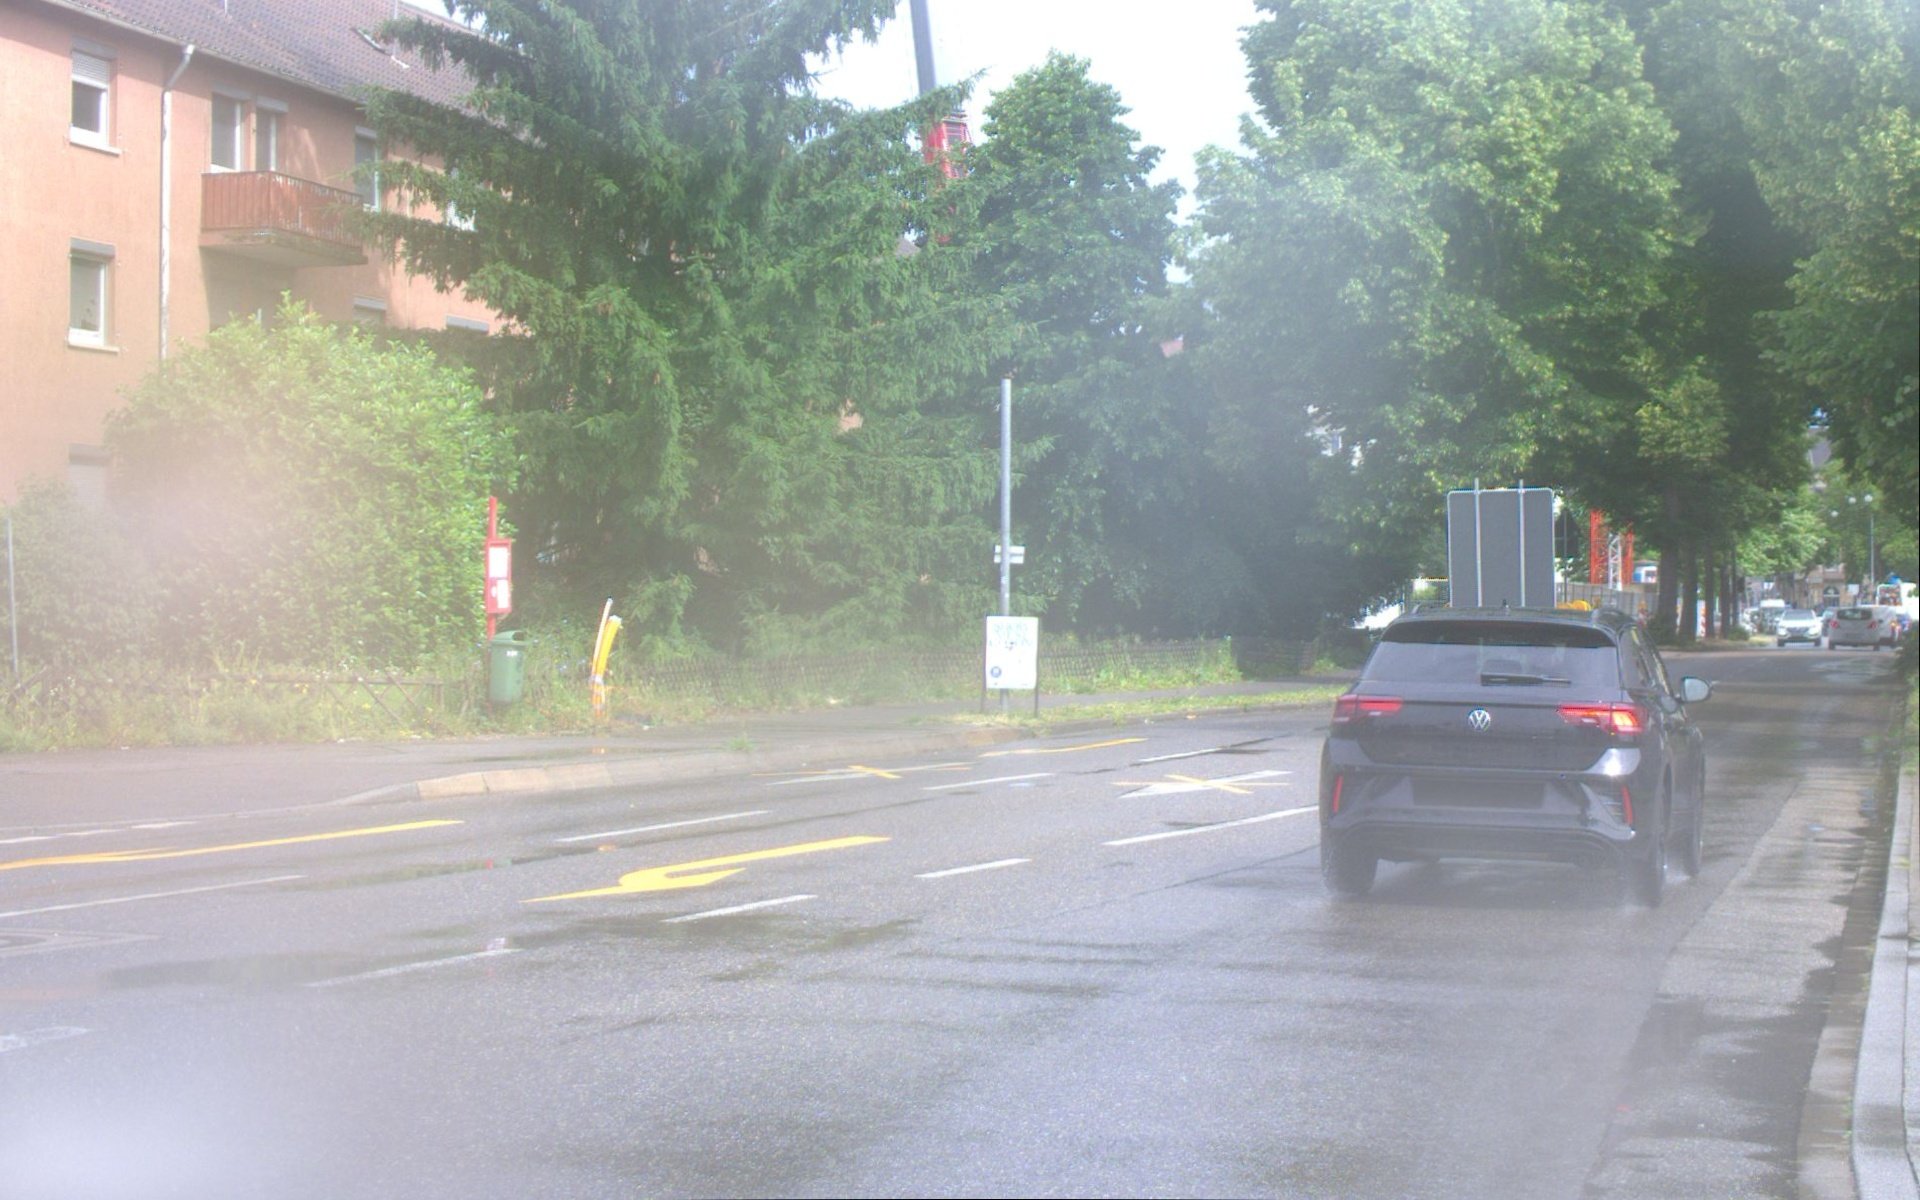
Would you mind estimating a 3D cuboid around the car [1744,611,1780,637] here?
[{"bbox_3d":[49.356,1.454,211.553,1.592,1.507,3.727,-3,-1,22],"label":"car"}]

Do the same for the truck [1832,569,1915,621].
[{"bbox_3d":[48.277,-0.272,181.893,2.805,2.647,8.239,1,1,5],"label":"truck"}]

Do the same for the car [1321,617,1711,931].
[{"bbox_3d":[3.138,0.873,19.131,1.895,1.517,3.998,1,0,11],"label":"car"}]

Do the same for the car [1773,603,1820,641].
[{"bbox_3d":[38.120,1.005,156.646,1.888,1.708,4.226,0,0,16],"label":"car"}]
